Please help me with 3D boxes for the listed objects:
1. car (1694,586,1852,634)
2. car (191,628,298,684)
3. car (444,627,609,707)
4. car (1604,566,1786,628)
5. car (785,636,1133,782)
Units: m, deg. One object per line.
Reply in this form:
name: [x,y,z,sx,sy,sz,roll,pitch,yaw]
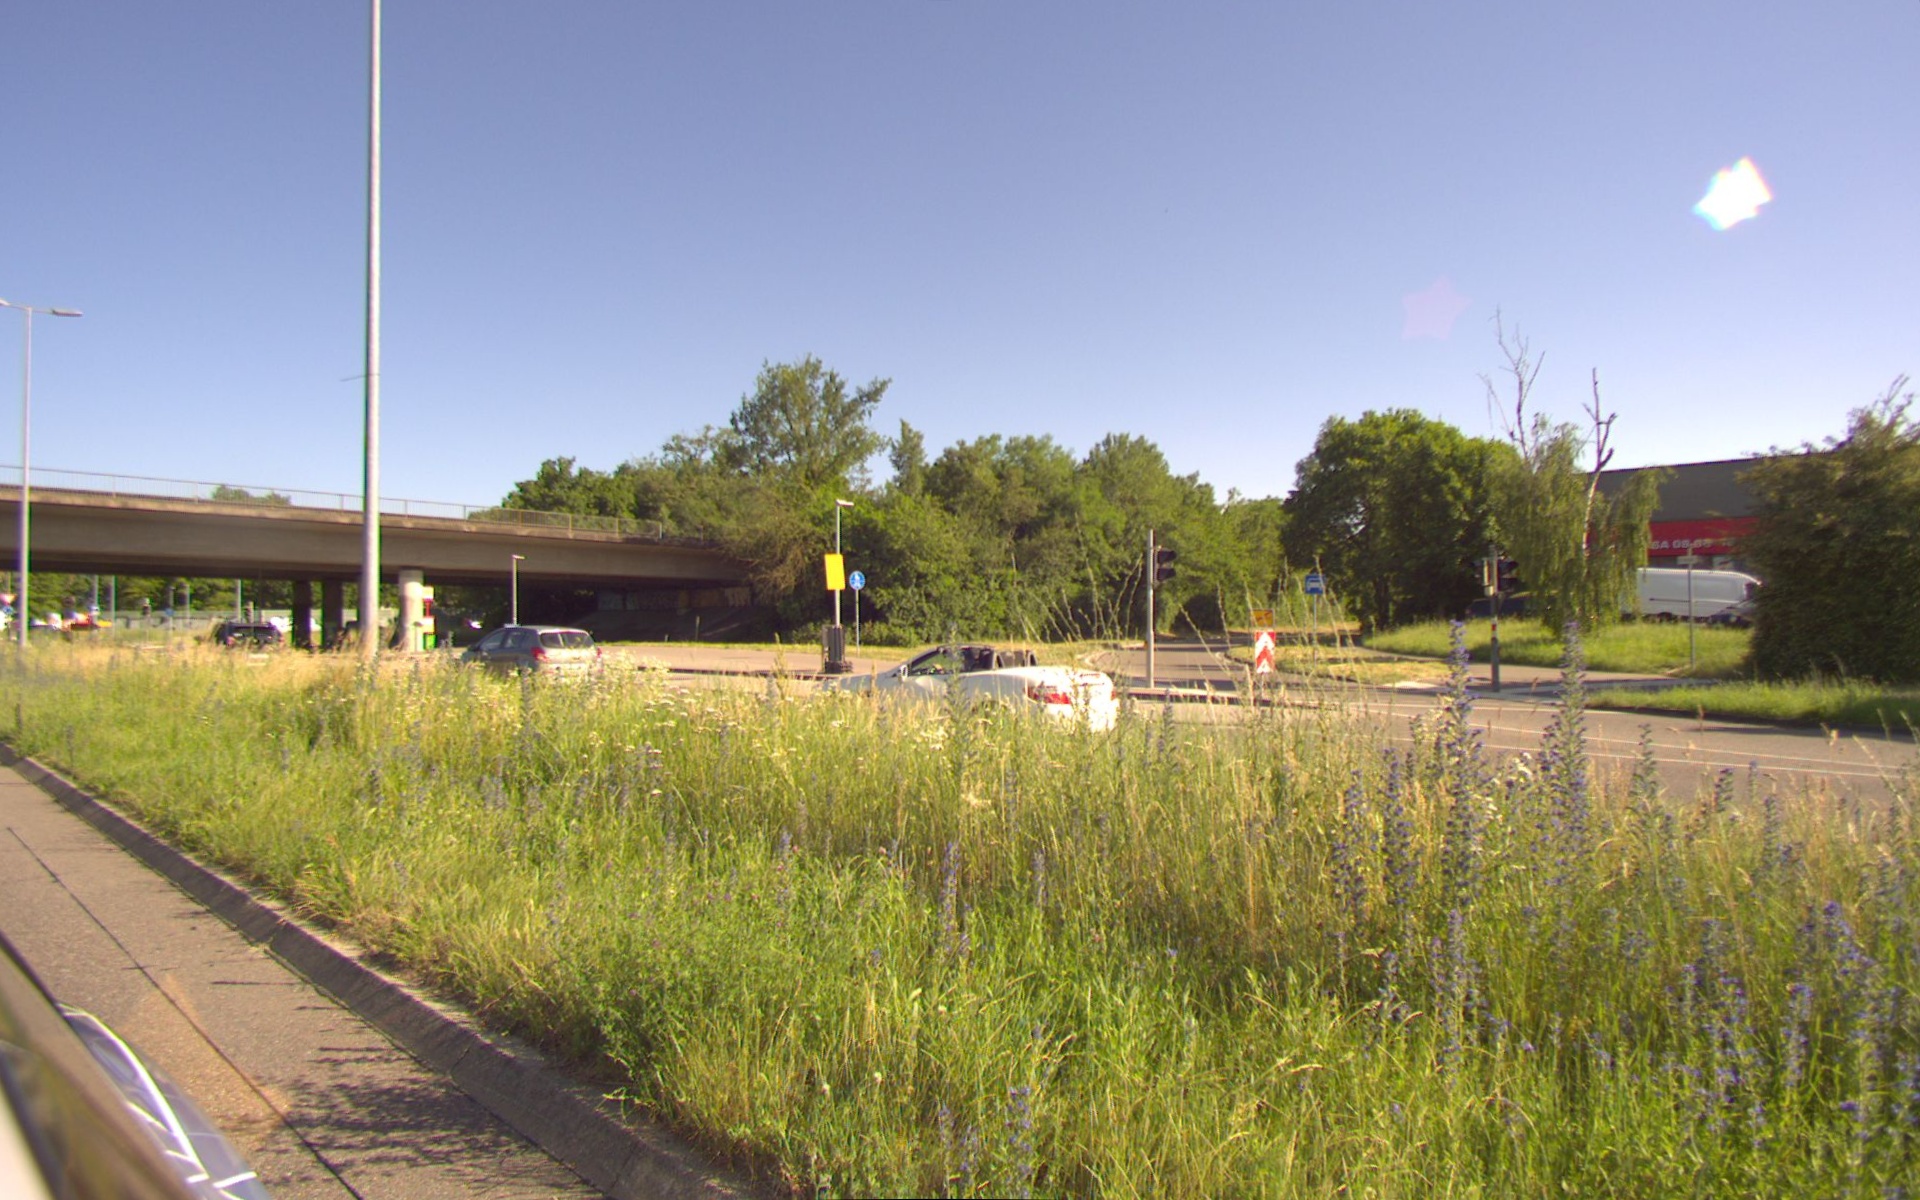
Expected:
car: [25.895,0.326,32.271,4.061,1.466,1.901,0,-2,-16]
car: [-21.127,1.611,29.841,3.587,1.542,1.617,-2,-2,38]
car: [-9.157,1.351,21.317,3.586,1.542,1.618,-1,-2,36]
car: [26.705,-0.080,36.938,4.990,2.168,1.890,-1,-2,10]
car: [-0.120,1.181,12.234,4.097,1.455,1.617,-2,-2,38]
